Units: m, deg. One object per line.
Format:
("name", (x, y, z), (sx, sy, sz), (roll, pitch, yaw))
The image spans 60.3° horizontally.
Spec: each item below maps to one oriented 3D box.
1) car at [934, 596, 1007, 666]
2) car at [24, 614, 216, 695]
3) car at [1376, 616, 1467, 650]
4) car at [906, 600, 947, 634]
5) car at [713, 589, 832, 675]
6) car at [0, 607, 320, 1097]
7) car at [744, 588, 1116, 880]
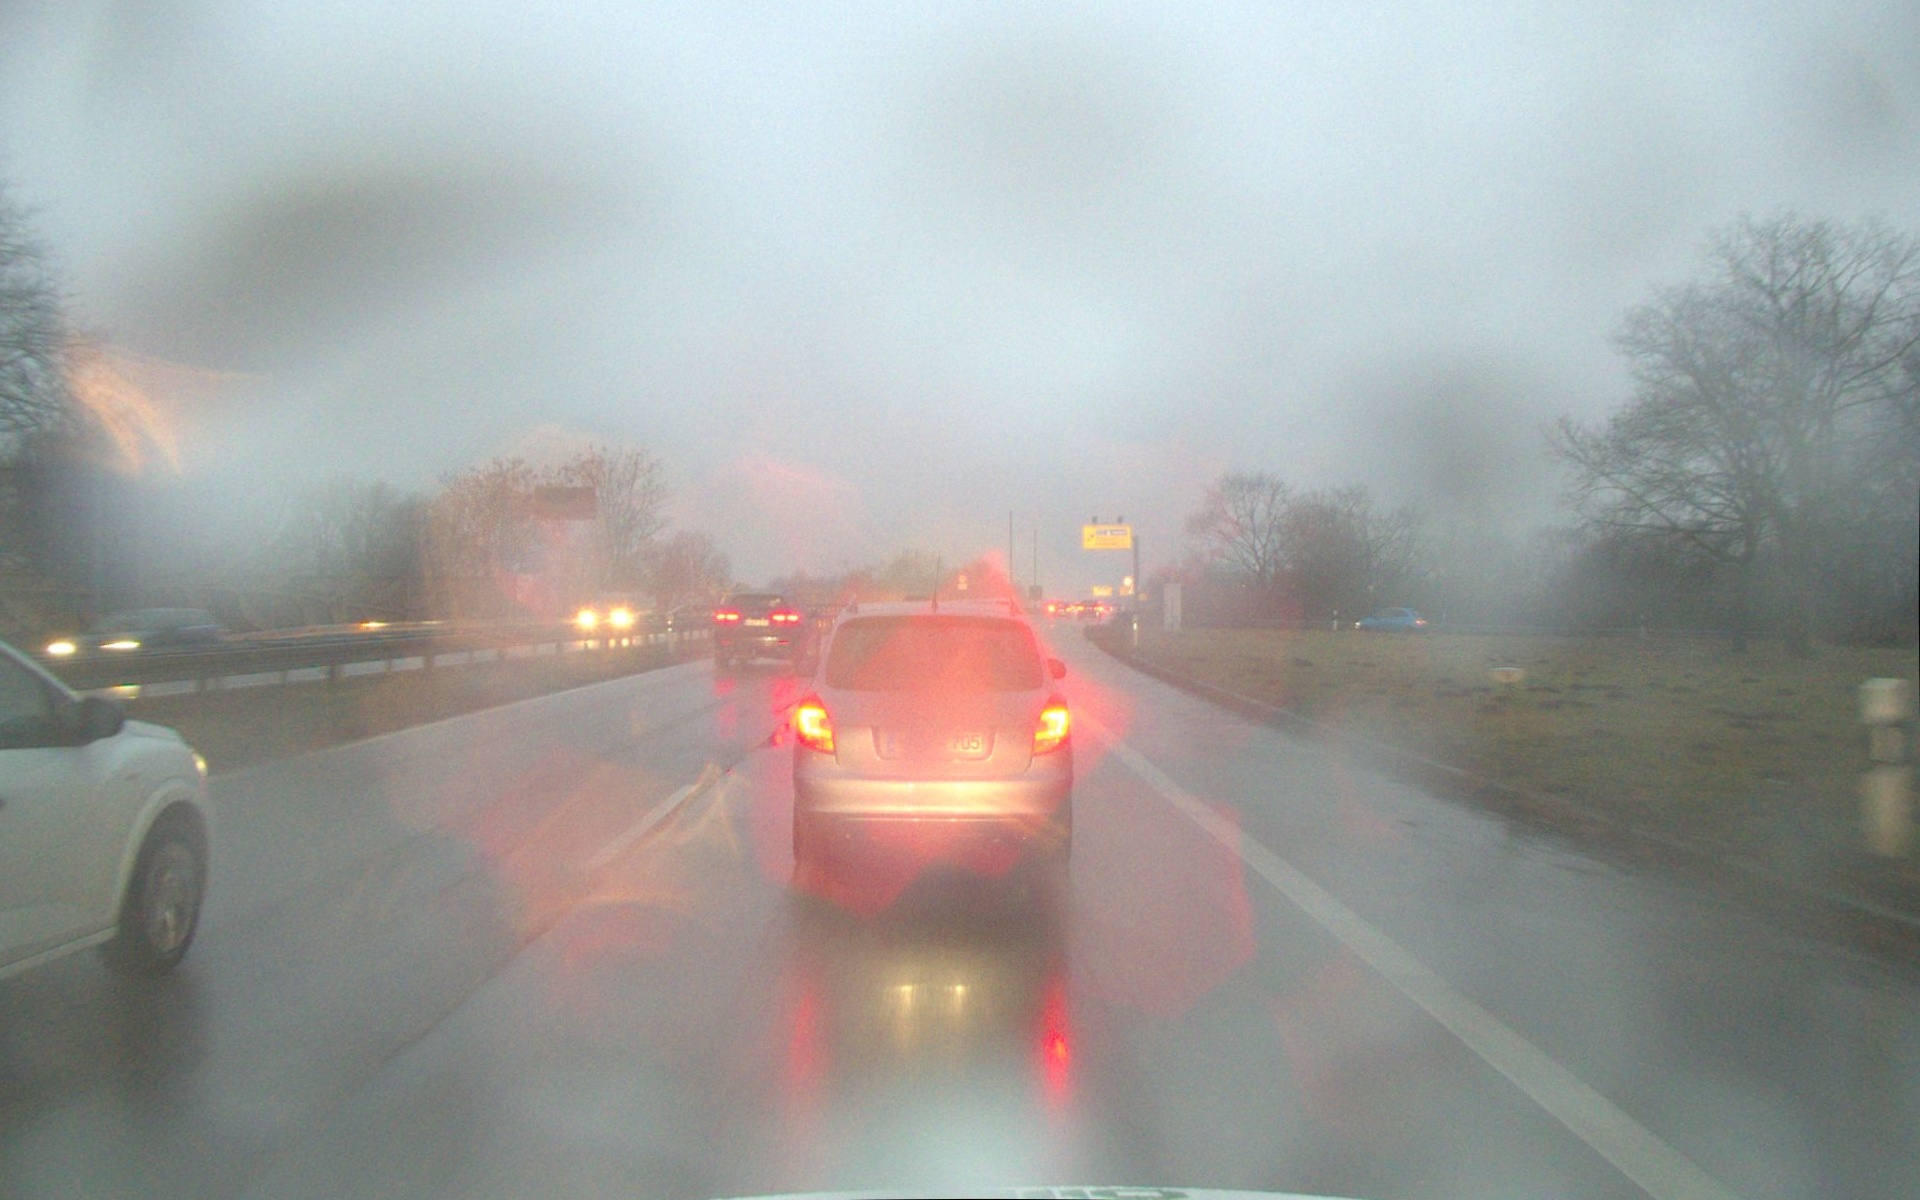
("car", (0.325, 0.802, 44.801), (1.858, 1.798, 4.309), (-1, 0, 2))
("car", (-17.039, 1.061, 33.773), (1.746, 1.560, 4.053), (0, -1, 2))
("car", (22.293, 1.566, 79.894), (3.911, 1.572, 1.793), (0, 0, 28))
("car", (-1.568, 0.787, 79.542), (1.752, 1.572, 4.001), (-1, 0, 2))
("car", (-3.868, 0.629, 34.777), (1.953, 1.629, 4.308), (2, 0, 0))
("car", (-3.748, 0.779, 5.218), (1.688, 1.465, 4.227), (-1, 0, 2))
("car", (-0.127, 0.722, 10.756), (1.952, 1.527, 4.138), (0, -1, 1))
